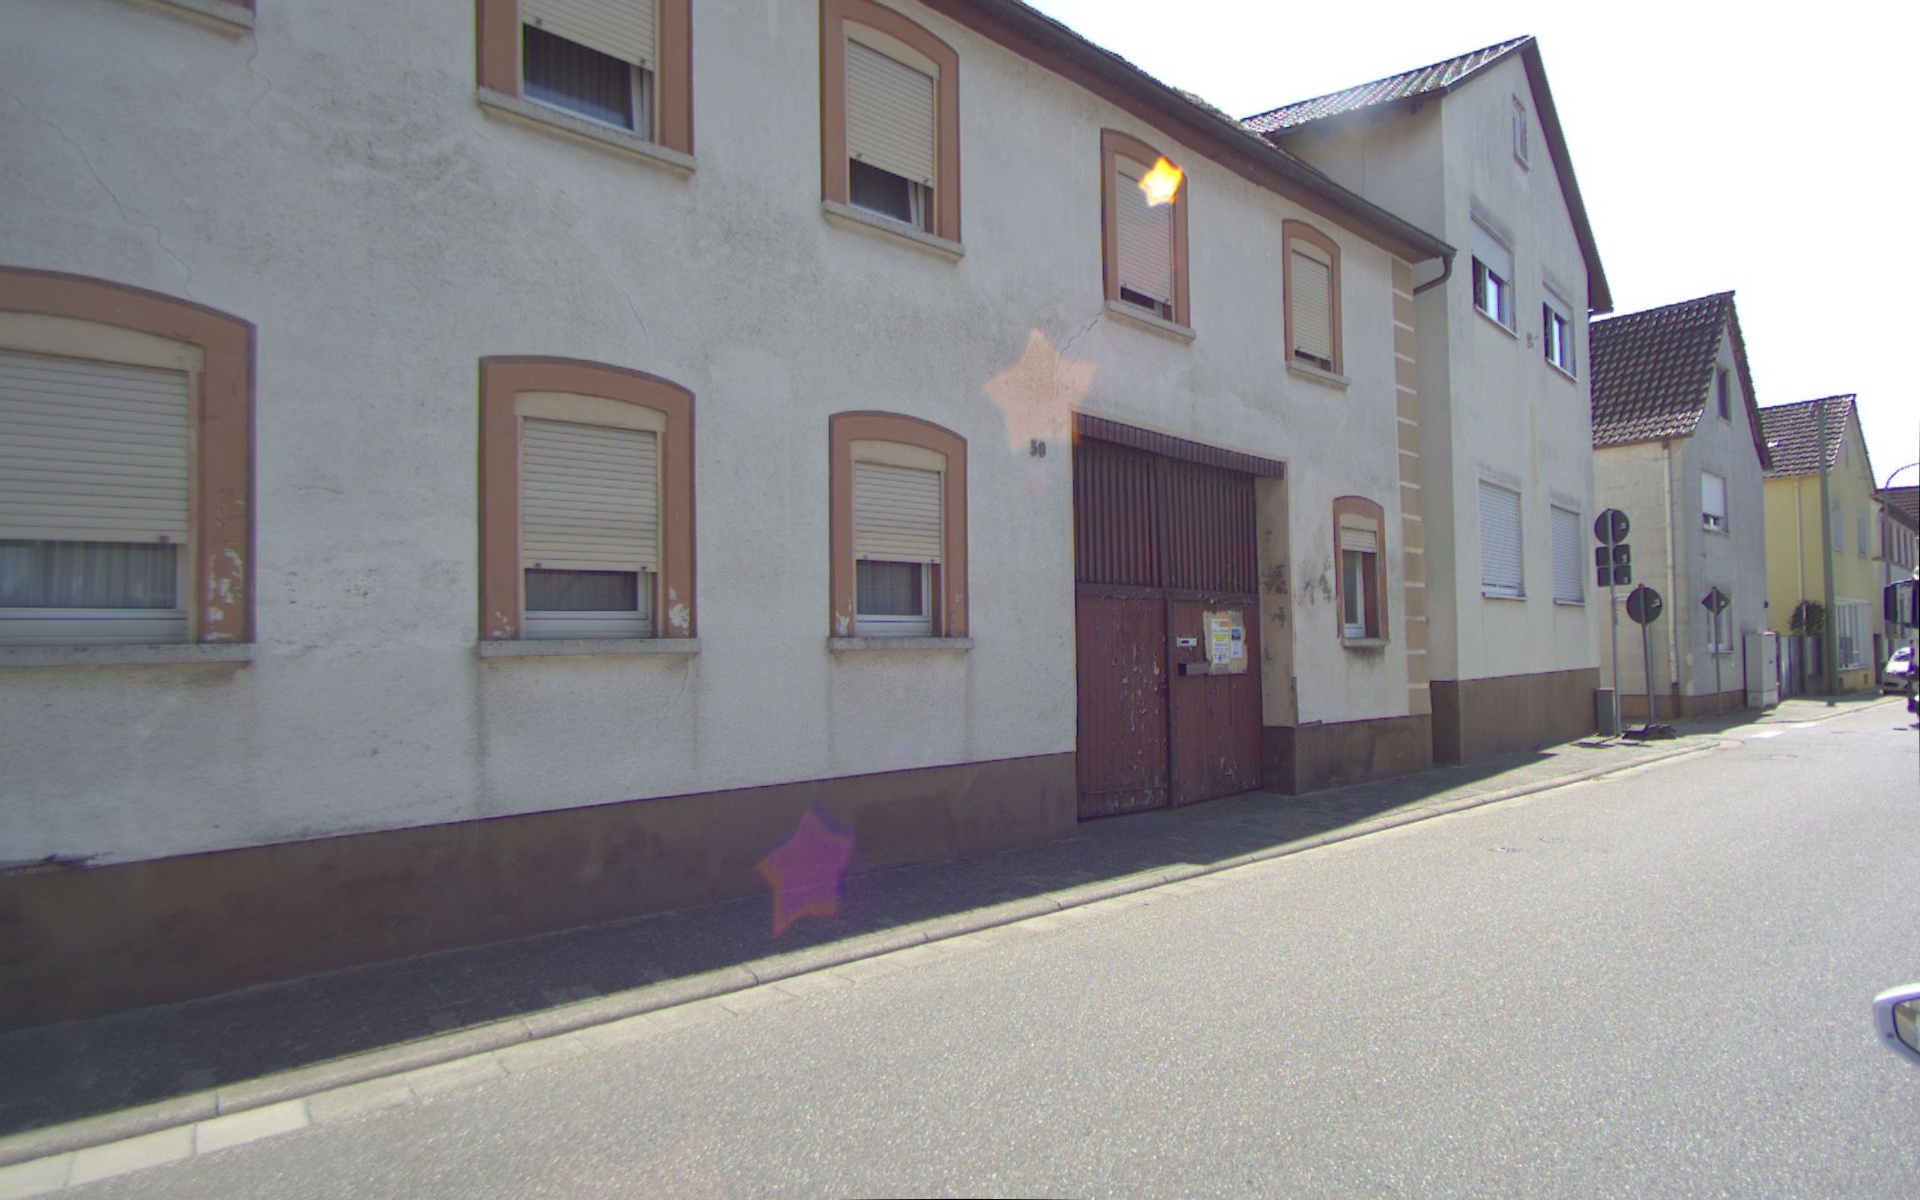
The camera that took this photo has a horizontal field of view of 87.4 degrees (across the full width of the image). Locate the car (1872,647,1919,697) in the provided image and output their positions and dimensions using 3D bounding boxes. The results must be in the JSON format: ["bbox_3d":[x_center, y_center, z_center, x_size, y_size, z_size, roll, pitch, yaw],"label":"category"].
[{"bbox_3d":[29.676,2.188,30.937,4.236,1.483,1.819,2,-4,-40],"label":"car"}]

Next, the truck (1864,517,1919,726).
[{"bbox_3d":[22.094,0.466,20.917,10.767,3.798,2.677,2,-4,-37],"label":"truck"}]
